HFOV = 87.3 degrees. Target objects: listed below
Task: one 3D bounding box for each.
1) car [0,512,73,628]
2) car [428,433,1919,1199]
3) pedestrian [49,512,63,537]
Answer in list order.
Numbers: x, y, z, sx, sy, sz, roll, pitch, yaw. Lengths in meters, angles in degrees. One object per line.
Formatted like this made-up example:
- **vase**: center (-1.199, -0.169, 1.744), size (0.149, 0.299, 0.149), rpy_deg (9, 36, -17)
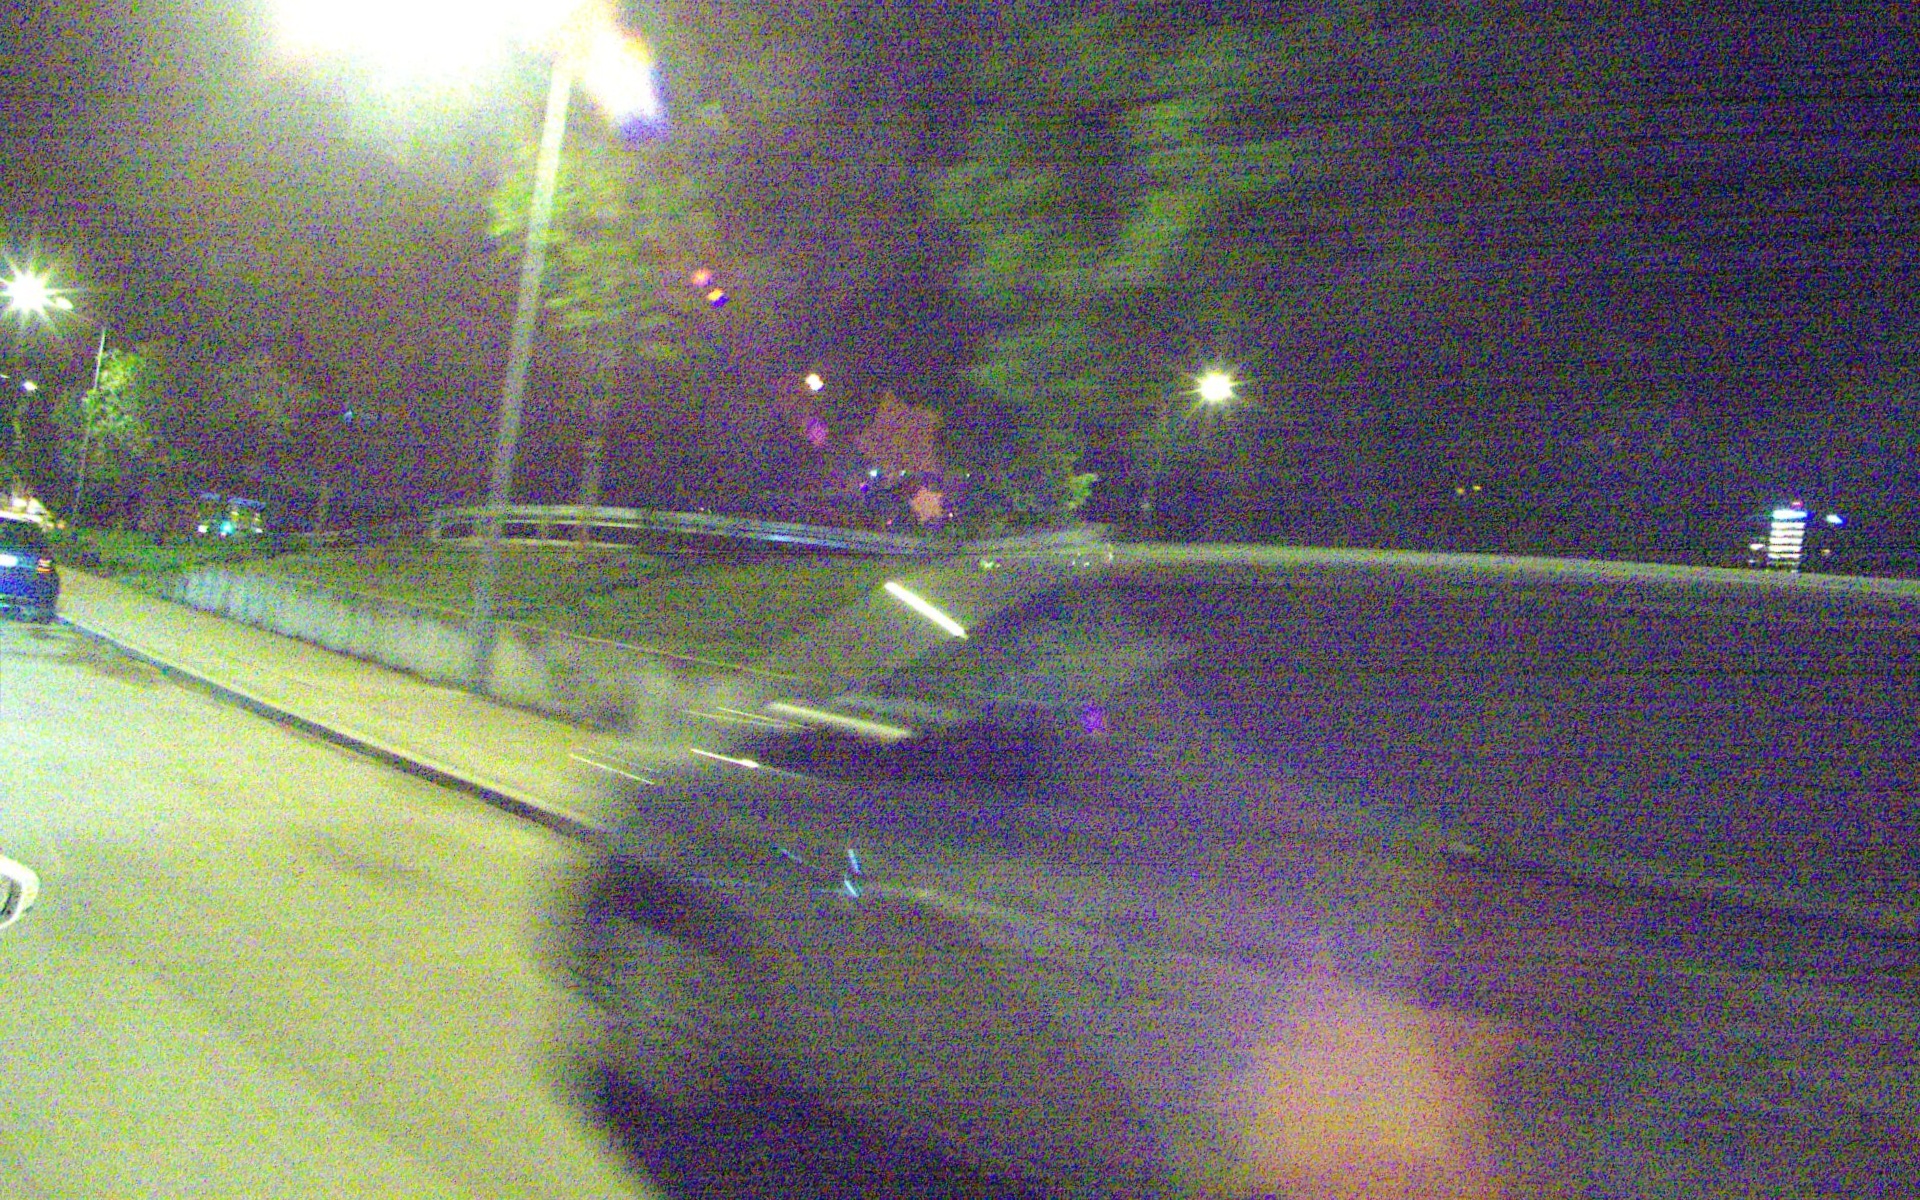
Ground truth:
- **car**: center (-14.938, -0.630, 15.118), size (3.769, 1.527, 1.611), rpy_deg (6, -5, 38)
- **car**: center (0.963, 0.820, 3.072), size (5.265, 2.037, 1.998), rpy_deg (8, -1, 32)
- **pedestrian**: center (-70.670, -5.903, 78.685), size (0.568, 1.874, 0.811), rpy_deg (8, -1, -38)
